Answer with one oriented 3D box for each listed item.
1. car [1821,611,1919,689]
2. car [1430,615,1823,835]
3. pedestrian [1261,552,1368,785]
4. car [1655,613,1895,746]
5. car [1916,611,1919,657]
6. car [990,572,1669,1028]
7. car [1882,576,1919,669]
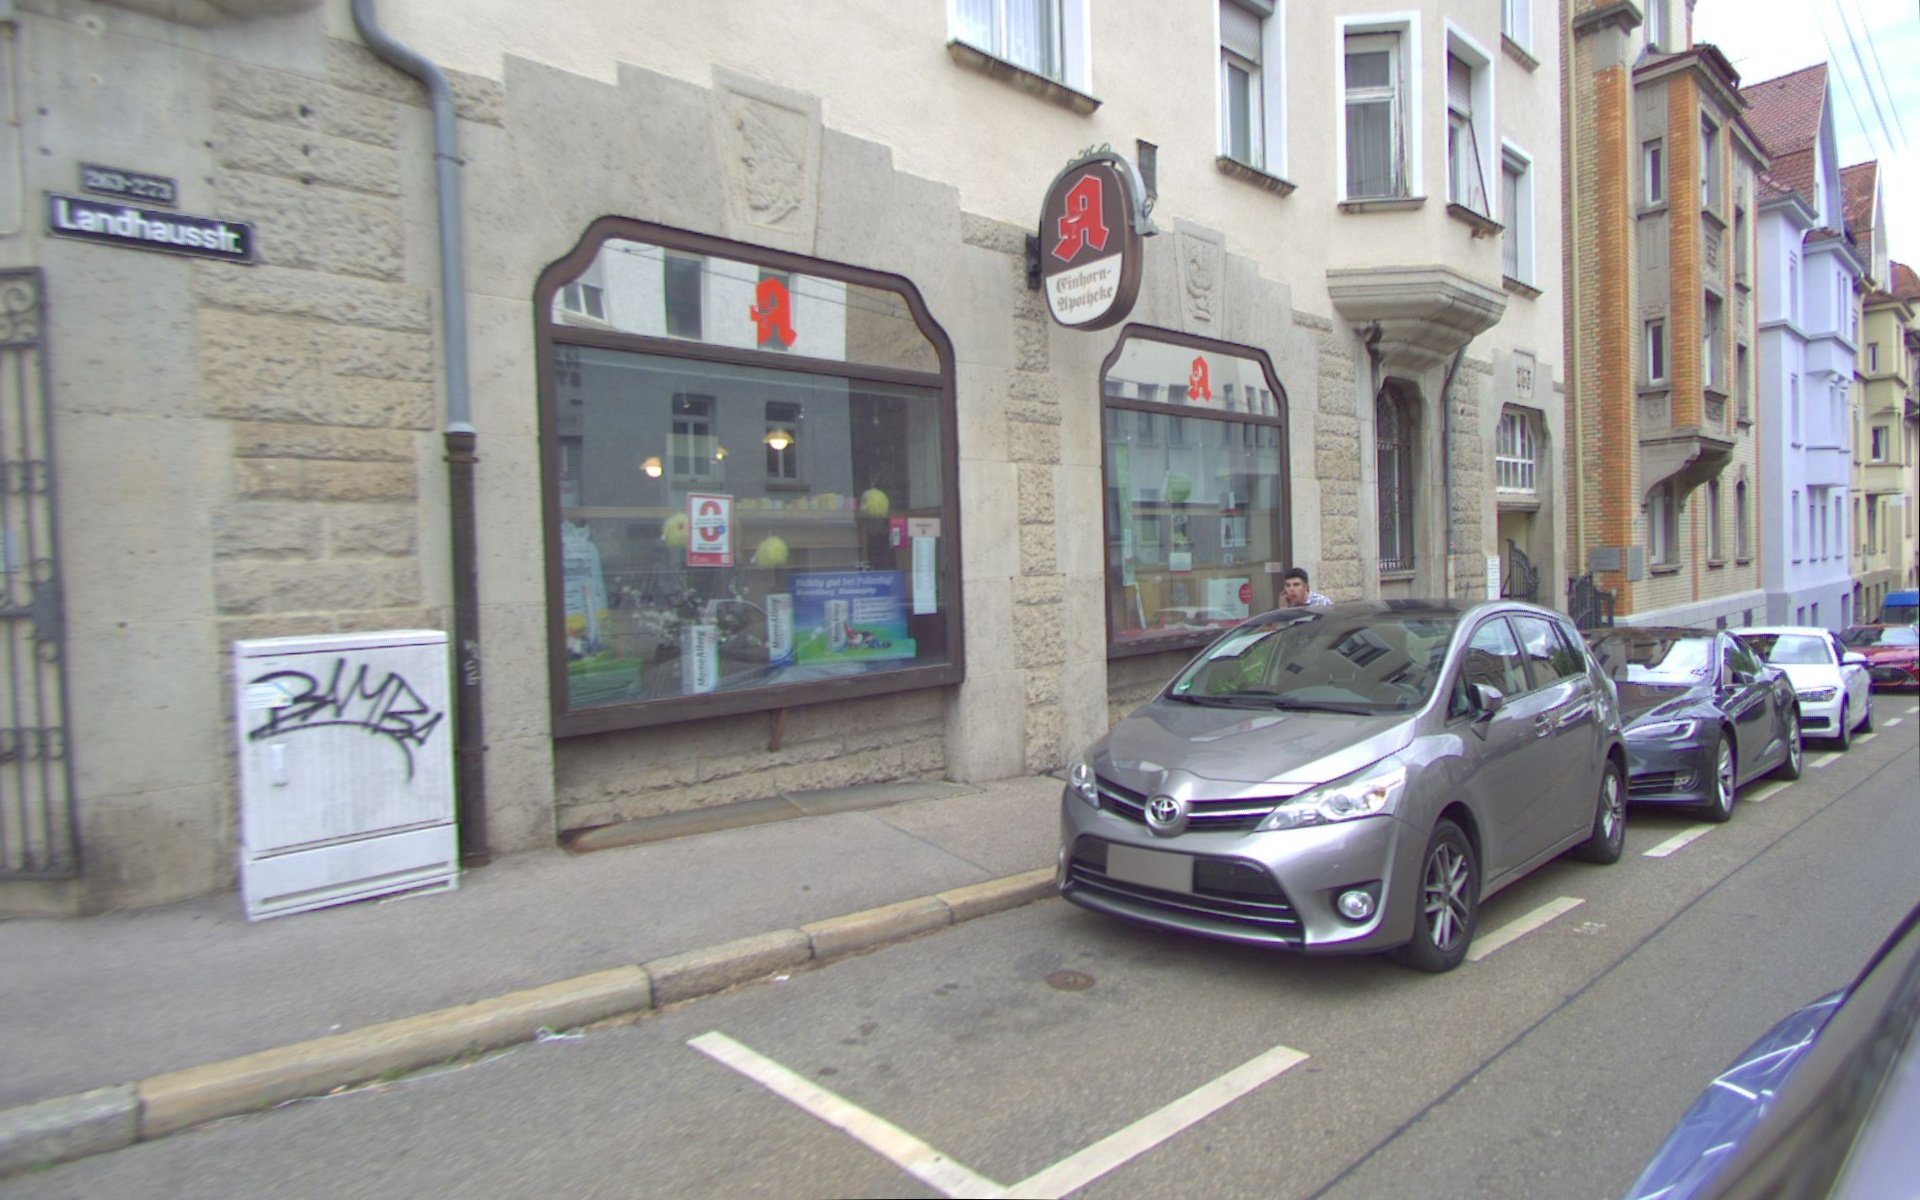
[{"bbox_3d":[19.839,1.000,21.438,4.510,1.494,1.782,0,-2,-42],"label":"car"},{"bbox_3d":[6.014,0.871,8.868,4.612,1.408,1.781,0,-2,-43],"label":"car"},{"bbox_3d":[2.934,0.538,8.376,0.621,1.826,0.600,0,-1,-41],"label":"pedestrian"},{"bbox_3d":[10.530,0.894,12.959,4.234,1.408,1.752,0,-2,-43],"label":"car"},{"bbox_3d":[30.914,1.061,31.141,4.120,1.551,1.781,0,-4,-42],"label":"car"},{"bbox_3d":[2.368,0.720,5.671,4.497,1.557,1.736,0,-2,-44],"label":"car"},{"bbox_3d":[26.794,0.579,27.545,4.968,2.406,1.996,0,0,-42],"label":"car"}]
